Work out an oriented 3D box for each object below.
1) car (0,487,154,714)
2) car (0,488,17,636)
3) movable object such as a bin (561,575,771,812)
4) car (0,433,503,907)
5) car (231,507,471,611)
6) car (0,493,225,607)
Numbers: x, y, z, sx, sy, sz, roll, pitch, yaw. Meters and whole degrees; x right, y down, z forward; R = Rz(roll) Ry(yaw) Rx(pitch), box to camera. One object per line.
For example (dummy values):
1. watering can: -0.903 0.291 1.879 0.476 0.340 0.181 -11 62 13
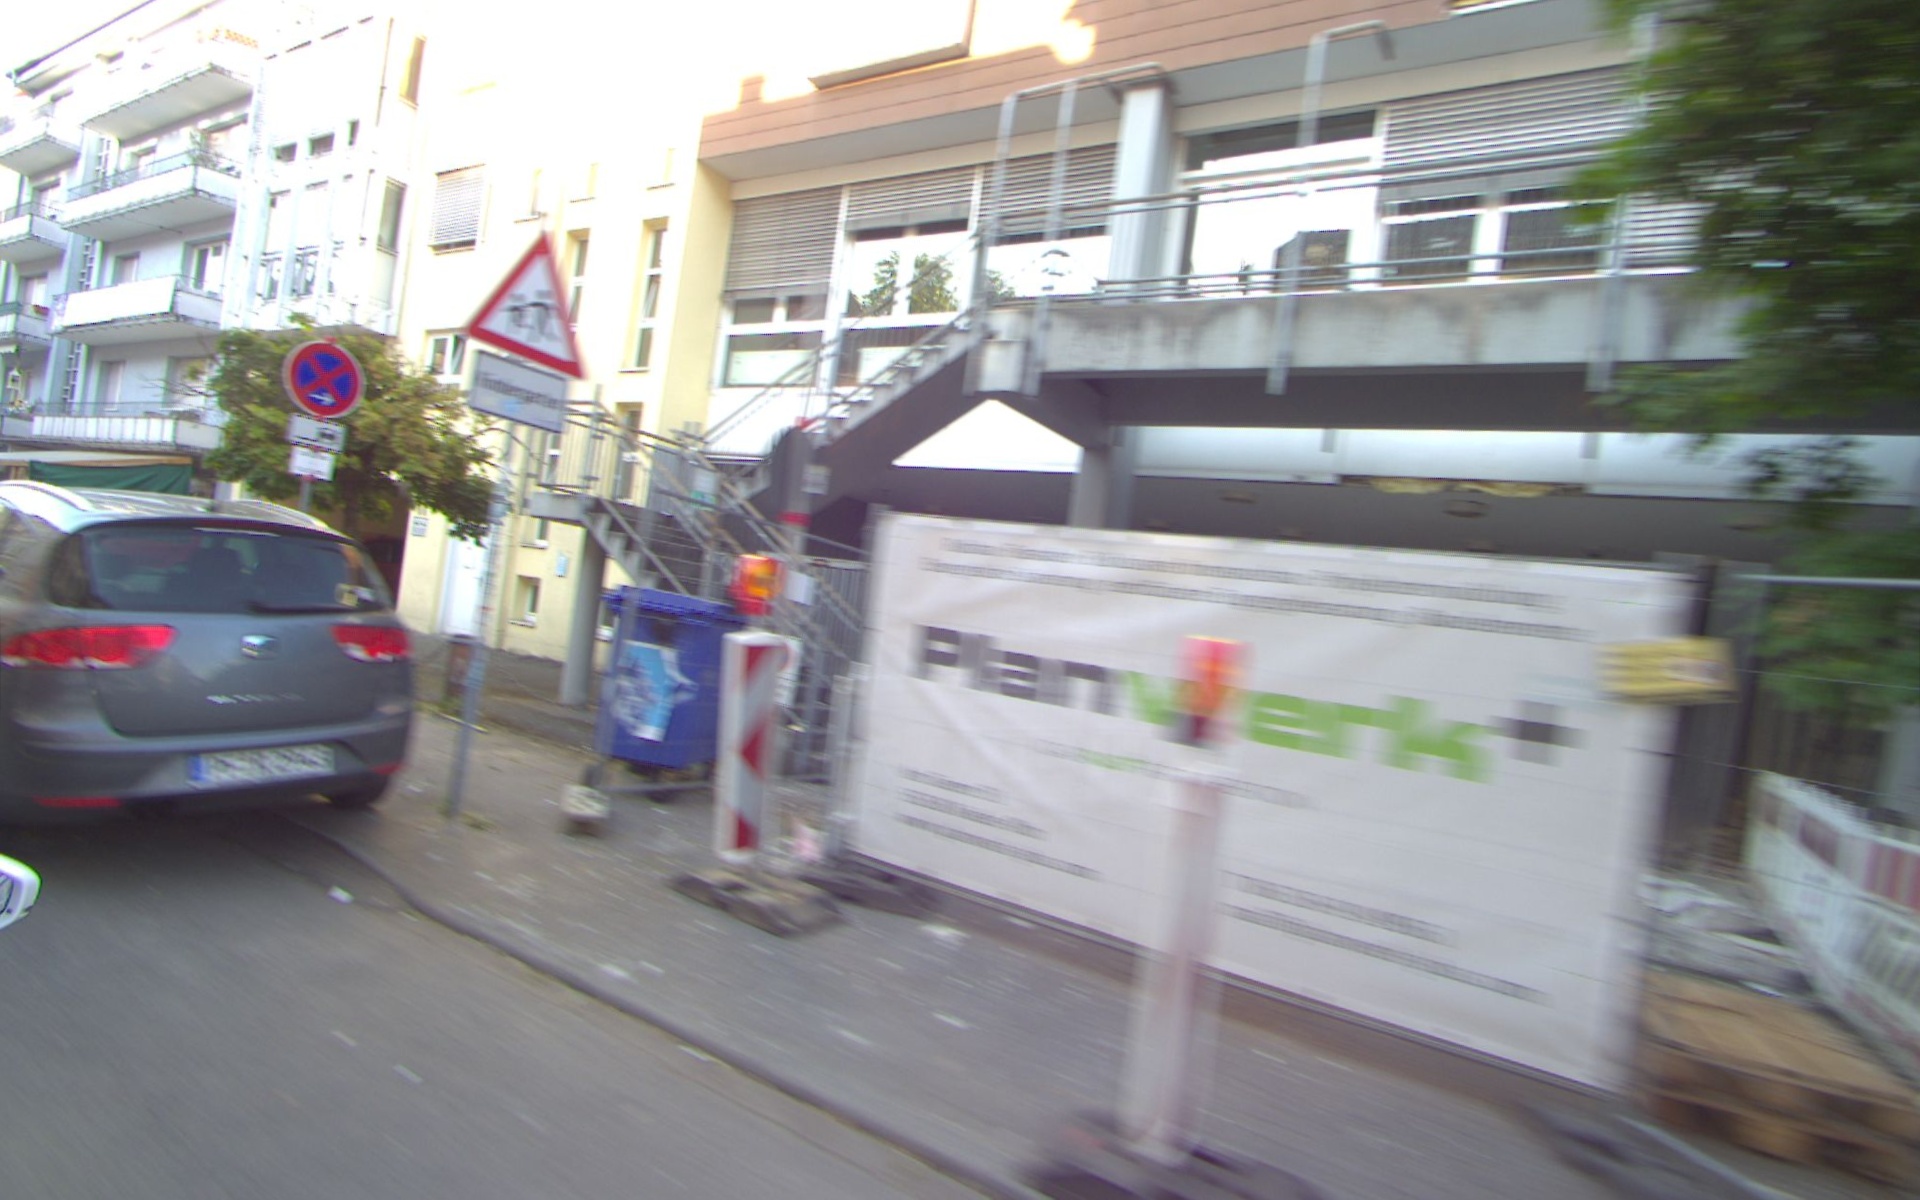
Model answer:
1. car: -8.260 -0.188 8.080 3.634 1.575 1.625 7 -2 34
2. car: -11.929 -0.650 10.792 4.056 1.505 1.621 7 1 32
3. movable object such as a bin: -1.985 0.633 7.013 0.787 1.391 1.256 8 -2 7
4. car: -4.712 0.125 5.561 4.453 1.702 1.752 7 -2 34
5. car: -13.701 -0.858 22.882 1.965 1.679 4.118 7 -1 28
6. car: -16.911 -0.985 19.431 1.666 1.625 3.906 7 -3 31
